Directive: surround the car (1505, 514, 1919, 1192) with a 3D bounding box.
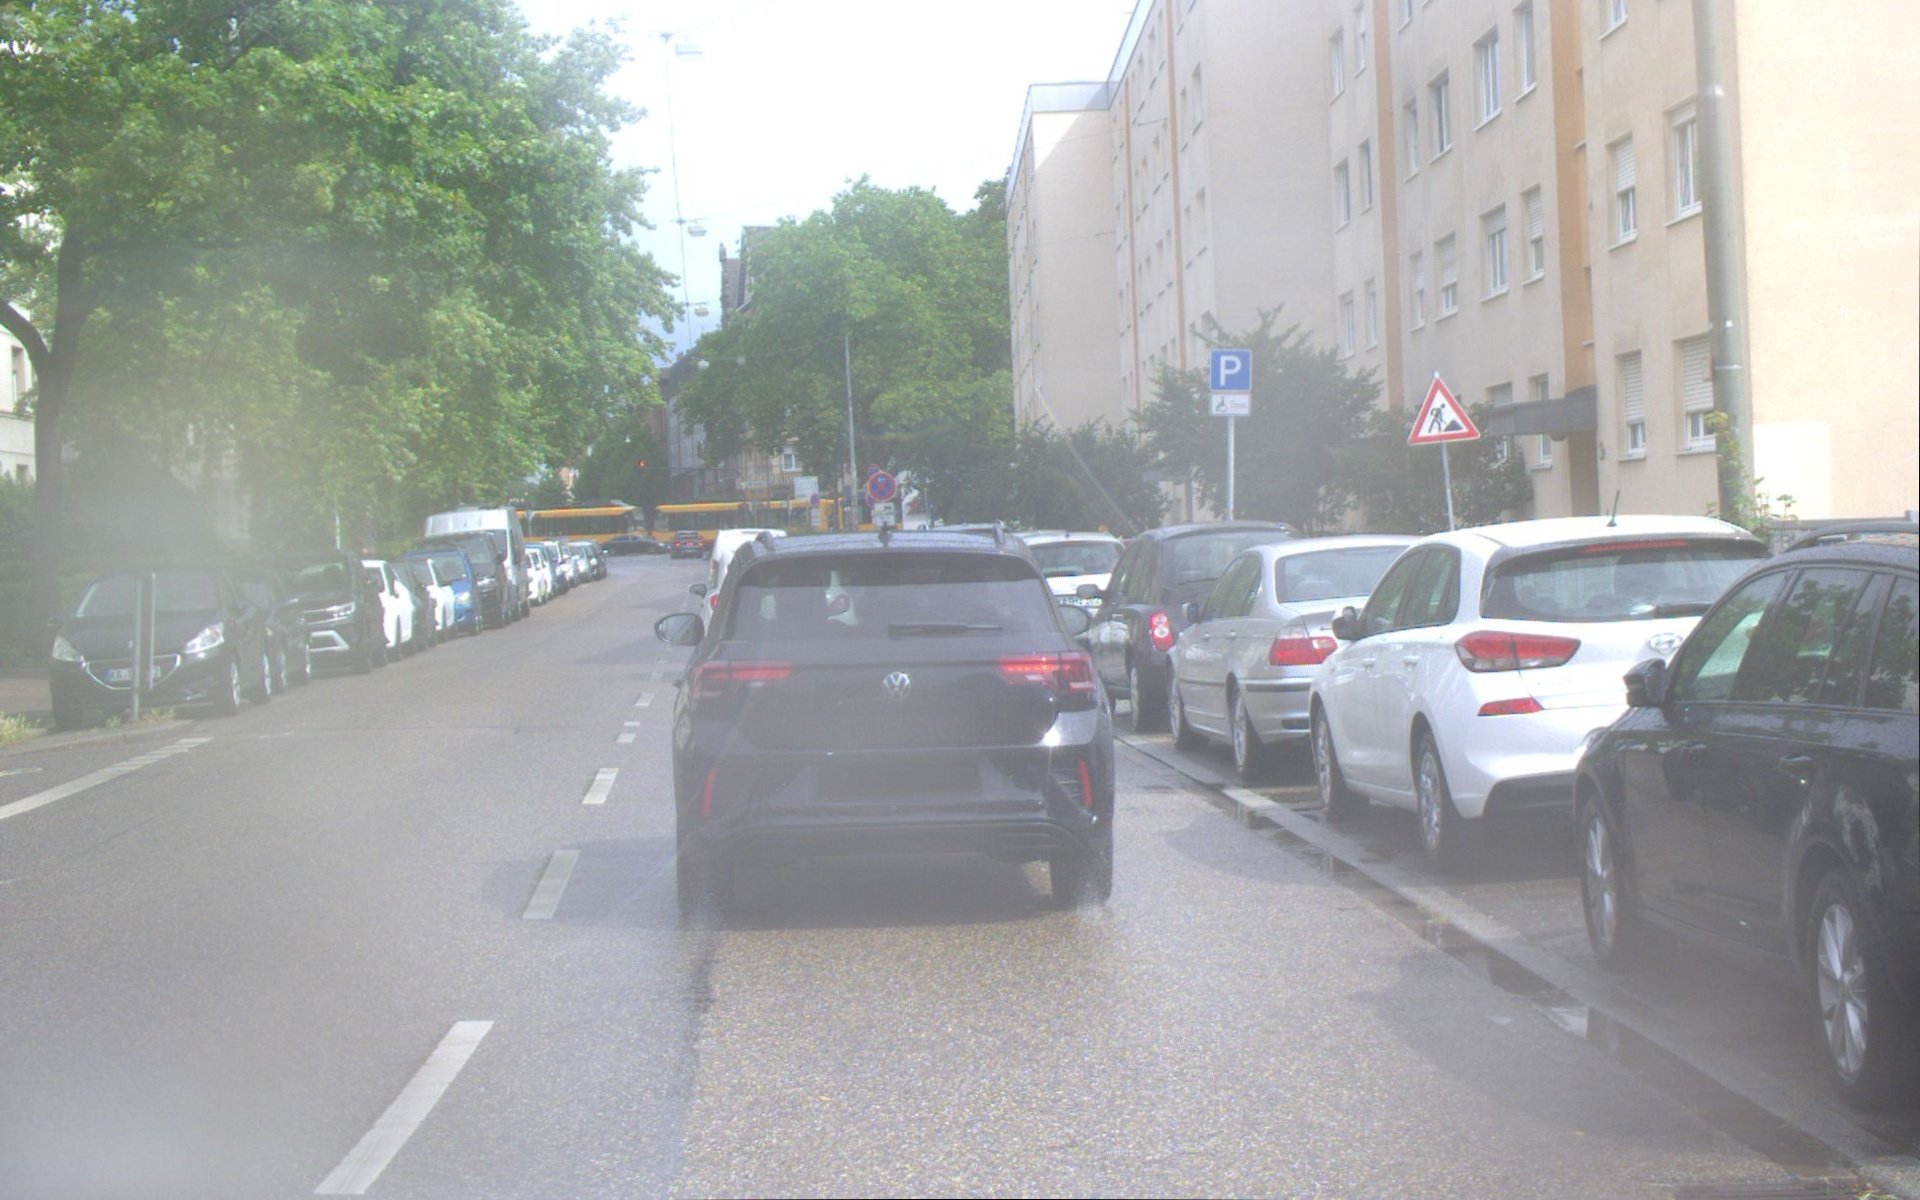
[{"bbox_3d":[2.839,0.519,9.886,1.604,1.503,4.160,-4,1,-3],"label":"car"}]

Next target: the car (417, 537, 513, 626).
[{"bbox_3d":[-9.906,-0.399,68.966,1.585,1.633,3.921,-3,1,-5],"label":"car"}]

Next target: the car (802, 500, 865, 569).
[{"bbox_3d":[-3.599,-1.860,97.491,1.665,1.831,4.001,-3,1,-2],"label":"car"}]

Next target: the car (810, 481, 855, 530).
[{"bbox_3d":[-5.022,-3.697,135.237,1.665,1.831,4.001,-3,1,-2],"label":"car"}]

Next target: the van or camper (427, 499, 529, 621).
[{"bbox_3d":[-10.582,-0.893,75.736,1.802,2.485,5.021,-3,1,-5],"label":"van or camper"}]

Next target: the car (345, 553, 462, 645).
[{"bbox_3d":[-9.485,-0.042,58.805,1.585,1.413,3.921,-3,1,-5],"label":"car"}]

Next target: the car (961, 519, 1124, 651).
[{"bbox_3d":[1.001,-0.213,43.567,1.604,1.500,4.033,-3,1,-4],"label":"car"}]

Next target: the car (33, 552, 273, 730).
[{"bbox_3d":[-7.692,0.344,33.063,1.585,1.500,4.065,-3,1,-5],"label":"car"}]

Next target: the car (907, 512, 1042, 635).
[{"bbox_3d":[0.179,-0.420,51.133,1.604,1.666,4.033,-3,1,-4],"label":"car"}]

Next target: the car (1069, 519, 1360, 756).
[{"bbox_3d":[1.880,0.216,26.463,1.604,1.656,4.033,-1,1,-5],"label":"car"}]

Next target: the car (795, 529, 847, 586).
[{"bbox_3d":[-4.724,-1.465,116.741,1.665,1.831,4.001,-3,1,-2],"label":"car"}]

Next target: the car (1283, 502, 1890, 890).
[{"bbox_3d":[2.727,0.385,15.925,1.748,1.503,4.112,-2,0,-4],"label":"car"}]

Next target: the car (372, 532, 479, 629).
[{"bbox_3d":[-9.814,-0.387,63.352,1.585,1.633,3.921,-3,1,-5],"label":"car"}]

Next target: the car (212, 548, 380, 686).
[{"bbox_3d":[-8.337,0.173,43.436,1.585,1.570,4.015,-3,1,-5],"label":"car"}]

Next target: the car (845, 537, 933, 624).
[{"bbox_3d":[-1.571,-0.444,74.711,1.604,1.759,4.033,-3,1,-4],"label":"car"}]

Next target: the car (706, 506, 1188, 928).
[{"bbox_3d":[-0.064,0.410,15.453,1.873,1.640,4.062,0,1,0],"label":"car"}]

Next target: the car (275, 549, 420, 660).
[{"bbox_3d":[-8.604,0.029,48.525,1.585,1.413,3.921,-3,1,-5],"label":"car"}]

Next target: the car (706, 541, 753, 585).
[{"bbox_3d":[-8.396,-1.358,125.163,1.604,1.505,3.548,-3,1,-4],"label":"car"}]

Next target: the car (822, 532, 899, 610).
[{"bbox_3d":[-2.463,-0.731,84.441,1.604,1.759,4.033,-3,1,-4],"label":"car"}]

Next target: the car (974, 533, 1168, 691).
[{"bbox_3d":[1.149,0.085,37.293,1.695,1.533,4.033,-3,1,-3],"label":"car"}]

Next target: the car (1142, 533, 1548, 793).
[{"bbox_3d":[2.296,0.319,21.570,1.716,1.447,4.260,-1,1,-5],"label":"car"}]

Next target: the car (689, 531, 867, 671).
[{"bbox_3d":[-2.002,0.000,38.751,1.813,1.498,4.000,0,0,0],"label":"car"}]

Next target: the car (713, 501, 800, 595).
[{"bbox_3d":[-4.602,-1.163,78.183,1.836,2.095,4.000,0,0,-1],"label":"car"}]
